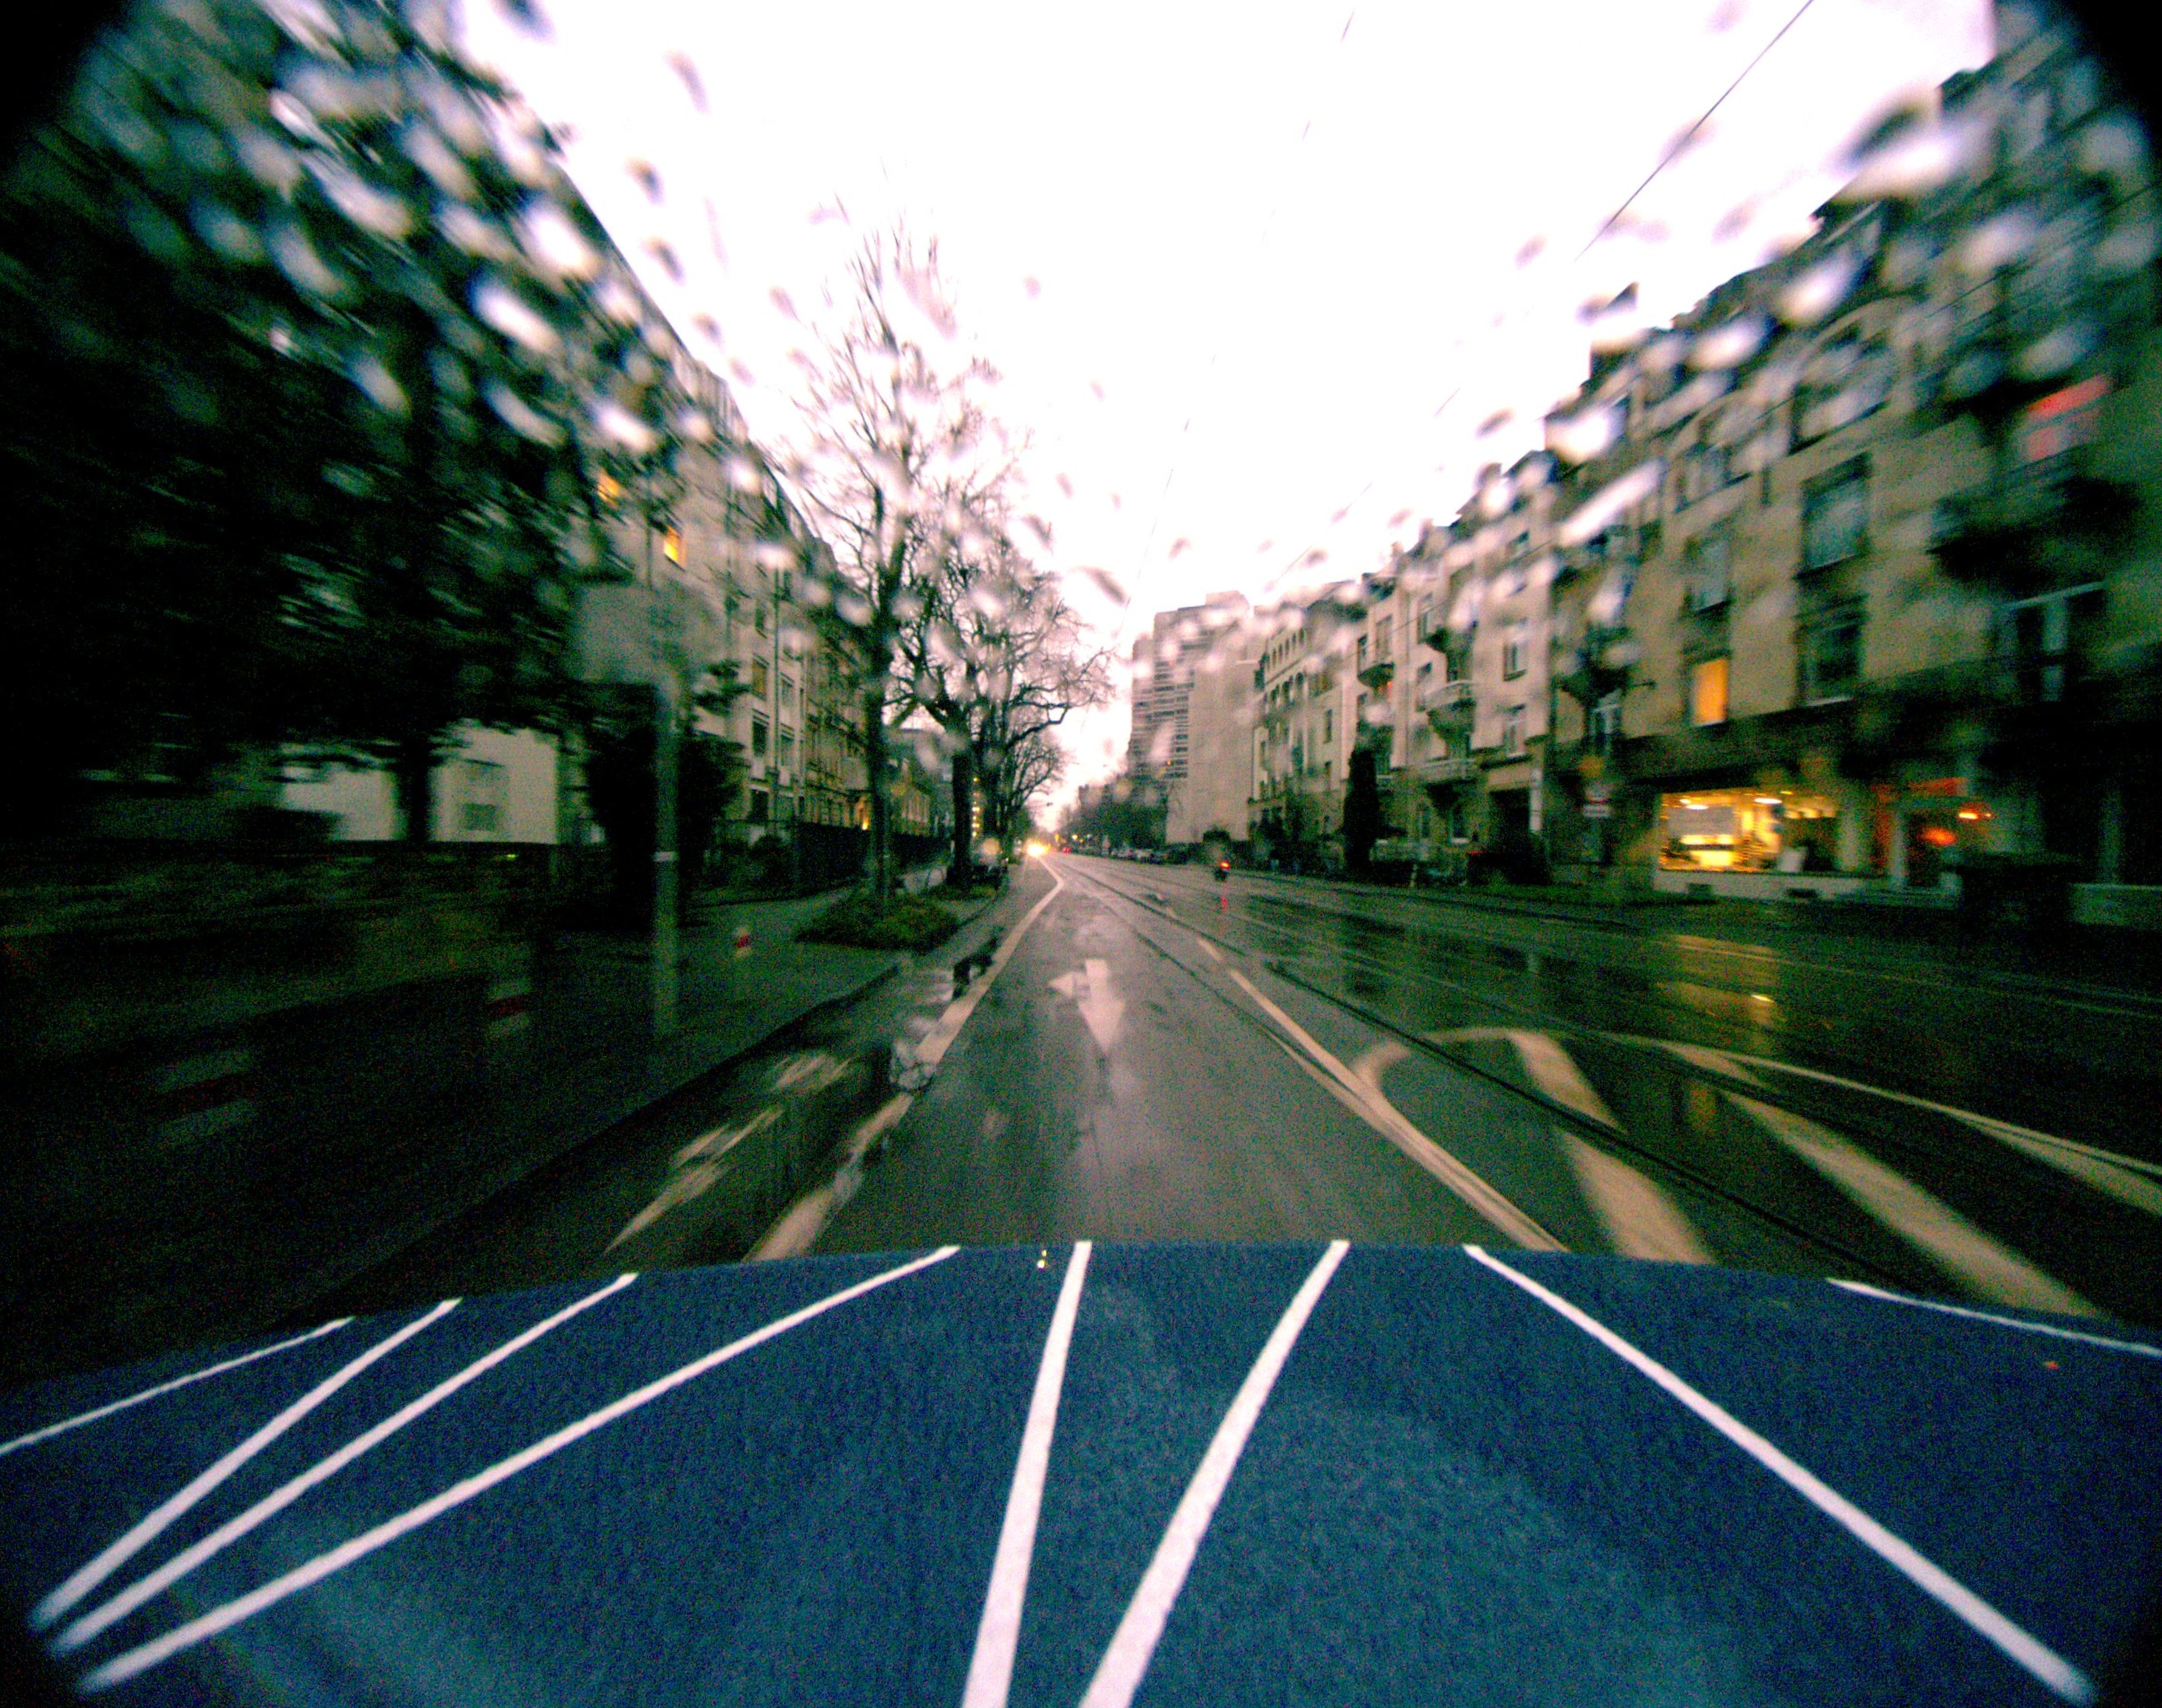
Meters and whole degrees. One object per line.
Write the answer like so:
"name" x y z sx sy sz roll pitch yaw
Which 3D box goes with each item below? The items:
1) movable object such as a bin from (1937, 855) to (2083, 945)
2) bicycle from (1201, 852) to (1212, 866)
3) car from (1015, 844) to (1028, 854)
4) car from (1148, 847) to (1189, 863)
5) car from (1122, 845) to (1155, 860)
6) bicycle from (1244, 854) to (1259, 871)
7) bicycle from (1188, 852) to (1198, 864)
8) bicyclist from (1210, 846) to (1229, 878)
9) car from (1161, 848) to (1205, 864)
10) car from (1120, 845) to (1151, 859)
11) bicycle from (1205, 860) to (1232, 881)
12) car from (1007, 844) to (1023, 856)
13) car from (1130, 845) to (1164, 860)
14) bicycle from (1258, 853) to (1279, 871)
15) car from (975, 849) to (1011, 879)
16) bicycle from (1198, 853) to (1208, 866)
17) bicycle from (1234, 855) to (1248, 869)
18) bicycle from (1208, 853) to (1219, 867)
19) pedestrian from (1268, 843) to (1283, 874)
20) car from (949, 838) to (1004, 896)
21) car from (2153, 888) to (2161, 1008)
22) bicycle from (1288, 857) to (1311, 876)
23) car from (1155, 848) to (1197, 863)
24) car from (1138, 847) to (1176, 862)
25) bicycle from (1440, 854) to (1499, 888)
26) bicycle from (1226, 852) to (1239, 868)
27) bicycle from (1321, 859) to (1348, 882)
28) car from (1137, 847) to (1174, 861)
"movable object such as a bin" 16.048 0.764 13.162 1.240 1.423 1.073 -3 1 -5
"bicycle" 9.823 0.387 59.424 0.435 1.001 1.880 -3 1 -2
"car" -8.471 -0.734 107.547 1.727 1.405 3.839 0 1 -7
"car" 8.808 0.054 76.400 3.841 1.405 1.726 -3 1 -3
"car" 7.266 -0.217 95.867 3.841 1.707 1.726 -3 1 -3
"bicycle" 10.802 0.520 48.155 0.435 1.001 1.711 -3 1 -2
"bicycle" 9.505 0.312 64.354 0.469 1.001 1.880 -3 1 -2
"bicyclist" 6.528 0.362 35.791 0.658 1.492 0.657 2 1 -11
"car" 9.538 0.190 70.958 3.841 1.405 1.726 0 1 -3
"car" 7.190 -0.300 99.823 3.841 1.707 1.726 -3 1 -3
"bicycle" 6.490 0.770 35.851 0.649 0.885 1.711 2 1 -11
"car" -7.673 -0.459 88.293 1.727 1.405 3.839 0 1 -7
"car" 8.079 -0.168 93.093 3.841 1.707 1.726 -2 1 -3
"bicycle" 11.046 0.474 44.807 0.524 1.001 2.208 -3 1 -2
"car" -4.657 0.485 40.255 1.727 1.405 3.840 -3 1 -7
"bicycle" 9.866 0.402 61.532 0.435 1.001 1.880 -3 1 -2
"bicycle" 10.518 0.501 49.955 0.442 0.827 1.767 -3 1 -2
"bicycle" 10.006 0.416 57.423 0.435 1.001 1.880 -3 1 -2
"pedestrian" 10.573 0.227 41.334 0.574 1.633 0.448 -3 2 -7
"car" -3.853 0.428 28.645 1.727 1.934 4.506 -3 1 -5
"car" 13.640 1.074 6.715 1.807 1.382 4.505 -3 1 -7
"bicycle" 11.317 0.623 39.405 0.531 0.885 2.209 -3 1 1
"car" 9.180 0.144 73.612 3.841 1.405 1.726 1 1 -3
"car" 8.168 0.058 82.191 3.841 1.405 1.726 -2 1 -3
"bicycle" 14.712 0.645 28.791 1.990 1.152 0.531 -3 2 -4
"bicycle" 10.303 0.416 51.735 0.435 1.001 1.604 -3 1 -2
"bicycle" 11.529 0.742 34.609 0.531 0.934 2.085 -3 1 1
"car" 8.479 -0.003 86.706 3.841 1.405 1.726 -3 1 -3
